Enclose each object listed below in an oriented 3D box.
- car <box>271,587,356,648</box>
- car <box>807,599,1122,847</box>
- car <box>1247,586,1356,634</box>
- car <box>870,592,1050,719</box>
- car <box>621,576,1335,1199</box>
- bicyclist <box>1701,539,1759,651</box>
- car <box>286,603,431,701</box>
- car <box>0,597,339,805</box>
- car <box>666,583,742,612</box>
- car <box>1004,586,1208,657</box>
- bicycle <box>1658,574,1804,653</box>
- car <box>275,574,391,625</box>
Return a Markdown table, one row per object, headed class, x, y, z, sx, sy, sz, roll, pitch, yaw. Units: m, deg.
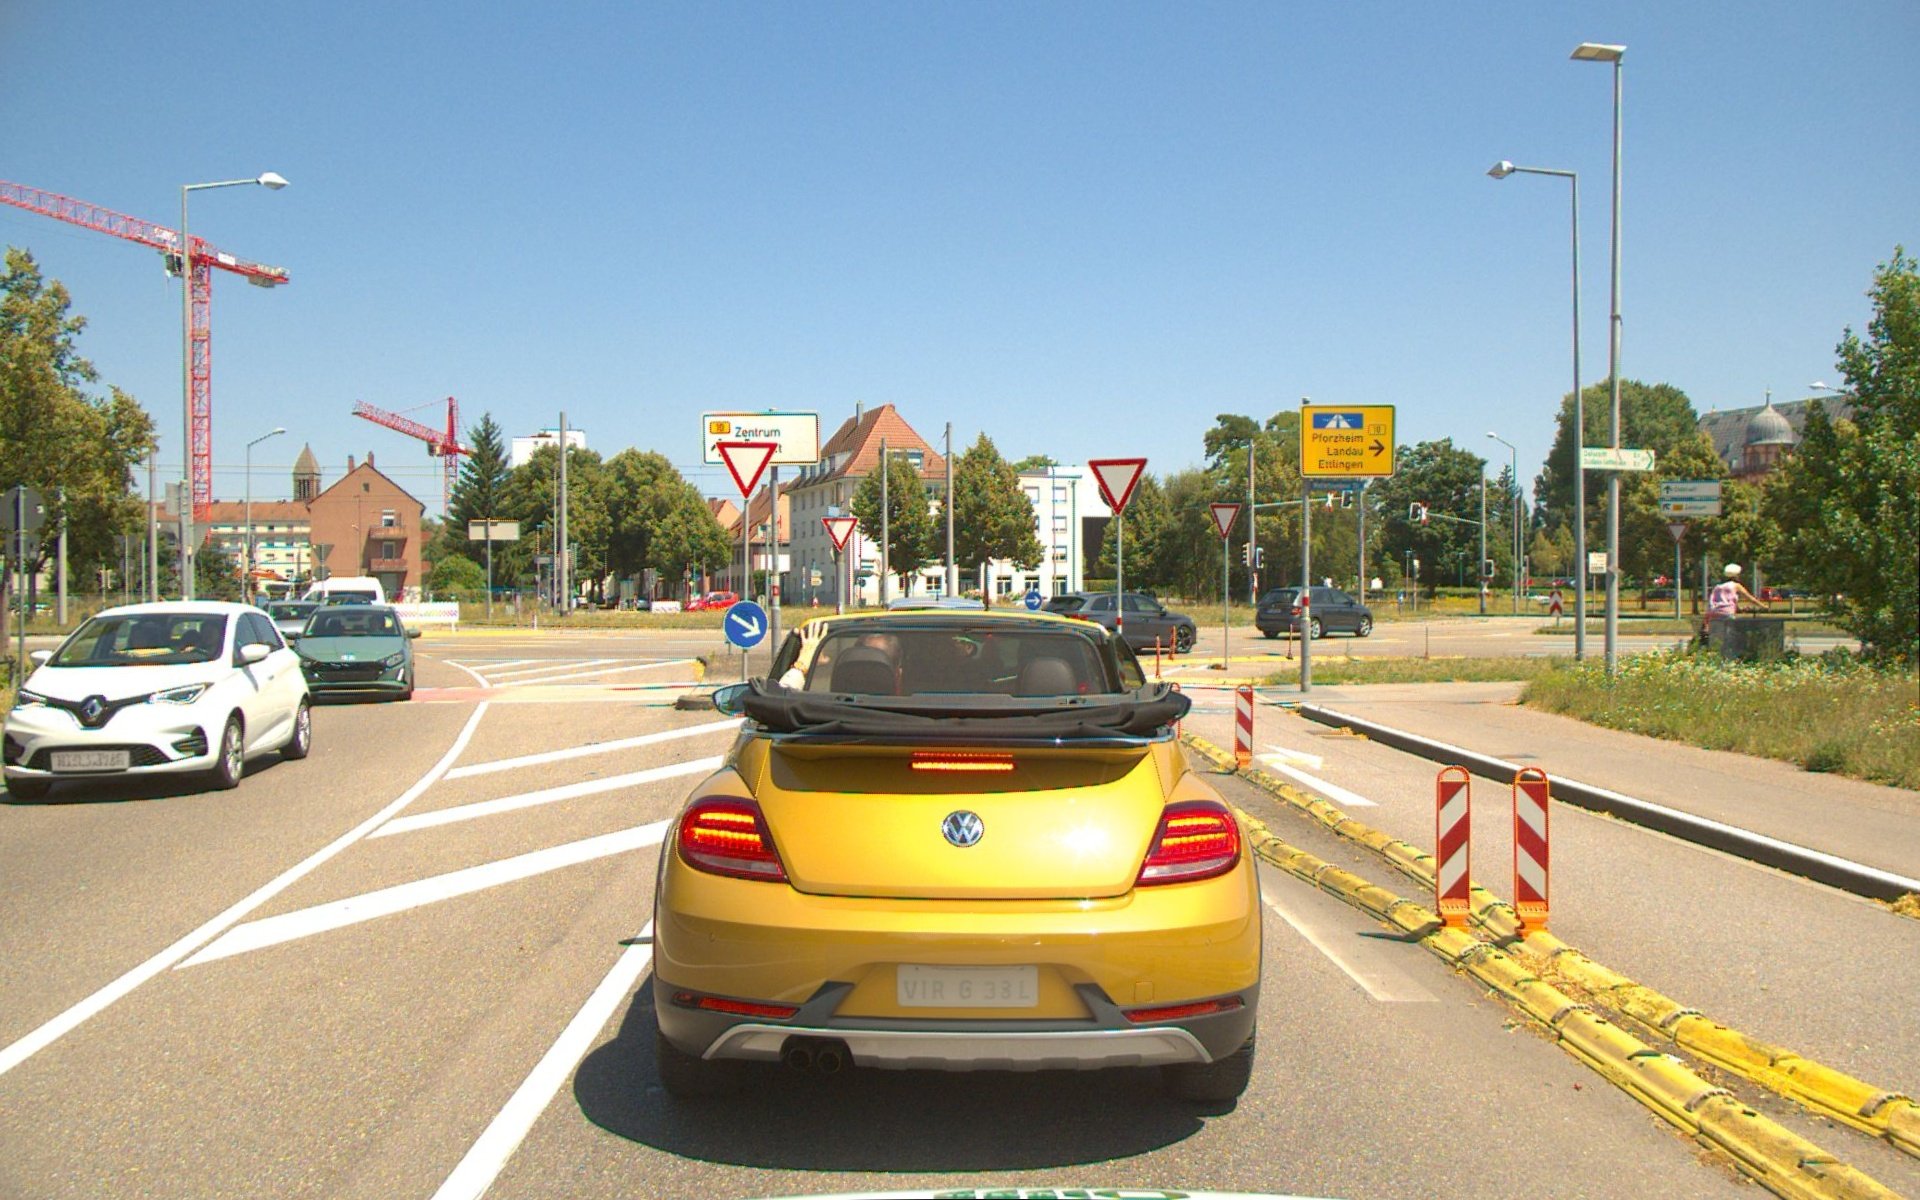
| class | x | y | z | sx | sy | sz | roll | pitch | yaw |
| --- | --- | --- | --- | --- | --- | --- | --- | --- | --- |
| car | -16.106 | 0.418 | 41.108 | 1.705 | 1.427 | 4.237 | 1 | 0 | -25 |
| car | -0.003 | 0.708 | 11.715 | 1.814 | 1.389 | 4.257 | -1 | 0 | -1 |
| car | 9.685 | 0.294 | 46.767 | 3.190 | 1.281 | 1.417 | 1 | 0 | -42 |
| car | -0.100 | 0.640 | 20.808 | 2.024 | 1.406 | 4.255 | 1 | 0 | -3 |
| car | 0.019 | 0.719 | 6.189 | 1.729 | 1.507 | 4.257 | 1 | 0 | -1 |
| bicyclist | 12.420 | -0.085 | 26.693 | 0.656 | 1.783 | 0.592 | -1 | 1 | 1 |
| car | -9.356 | 0.756 | 26.014 | 1.717 | 1.395 | 4.314 | 1 | 0 | -15 |
| car | -6.911 | 0.769 | 14.616 | 1.741 | 1.554 | 3.867 | -1 | 0 | -7 |
| car | -15.610 | -0.136 | 100.902 | 4.275 | 1.683 | 1.887 | 1 | 0 | -24 |
| car | 3.396 | 0.451 | 38.131 | 4.493 | 1.507 | 2.045 | -1 | 0 | -37 |
| bicycle | 12.428 | 0.218 | 26.698 | 2.048 | 1.242 | 0.634 | -1 | 0 | 1 |
| car | -31.932 | -0.012 | 84.224 | 5.255 | 2.439 | 1.974 | 1 | 0 | -31 |
